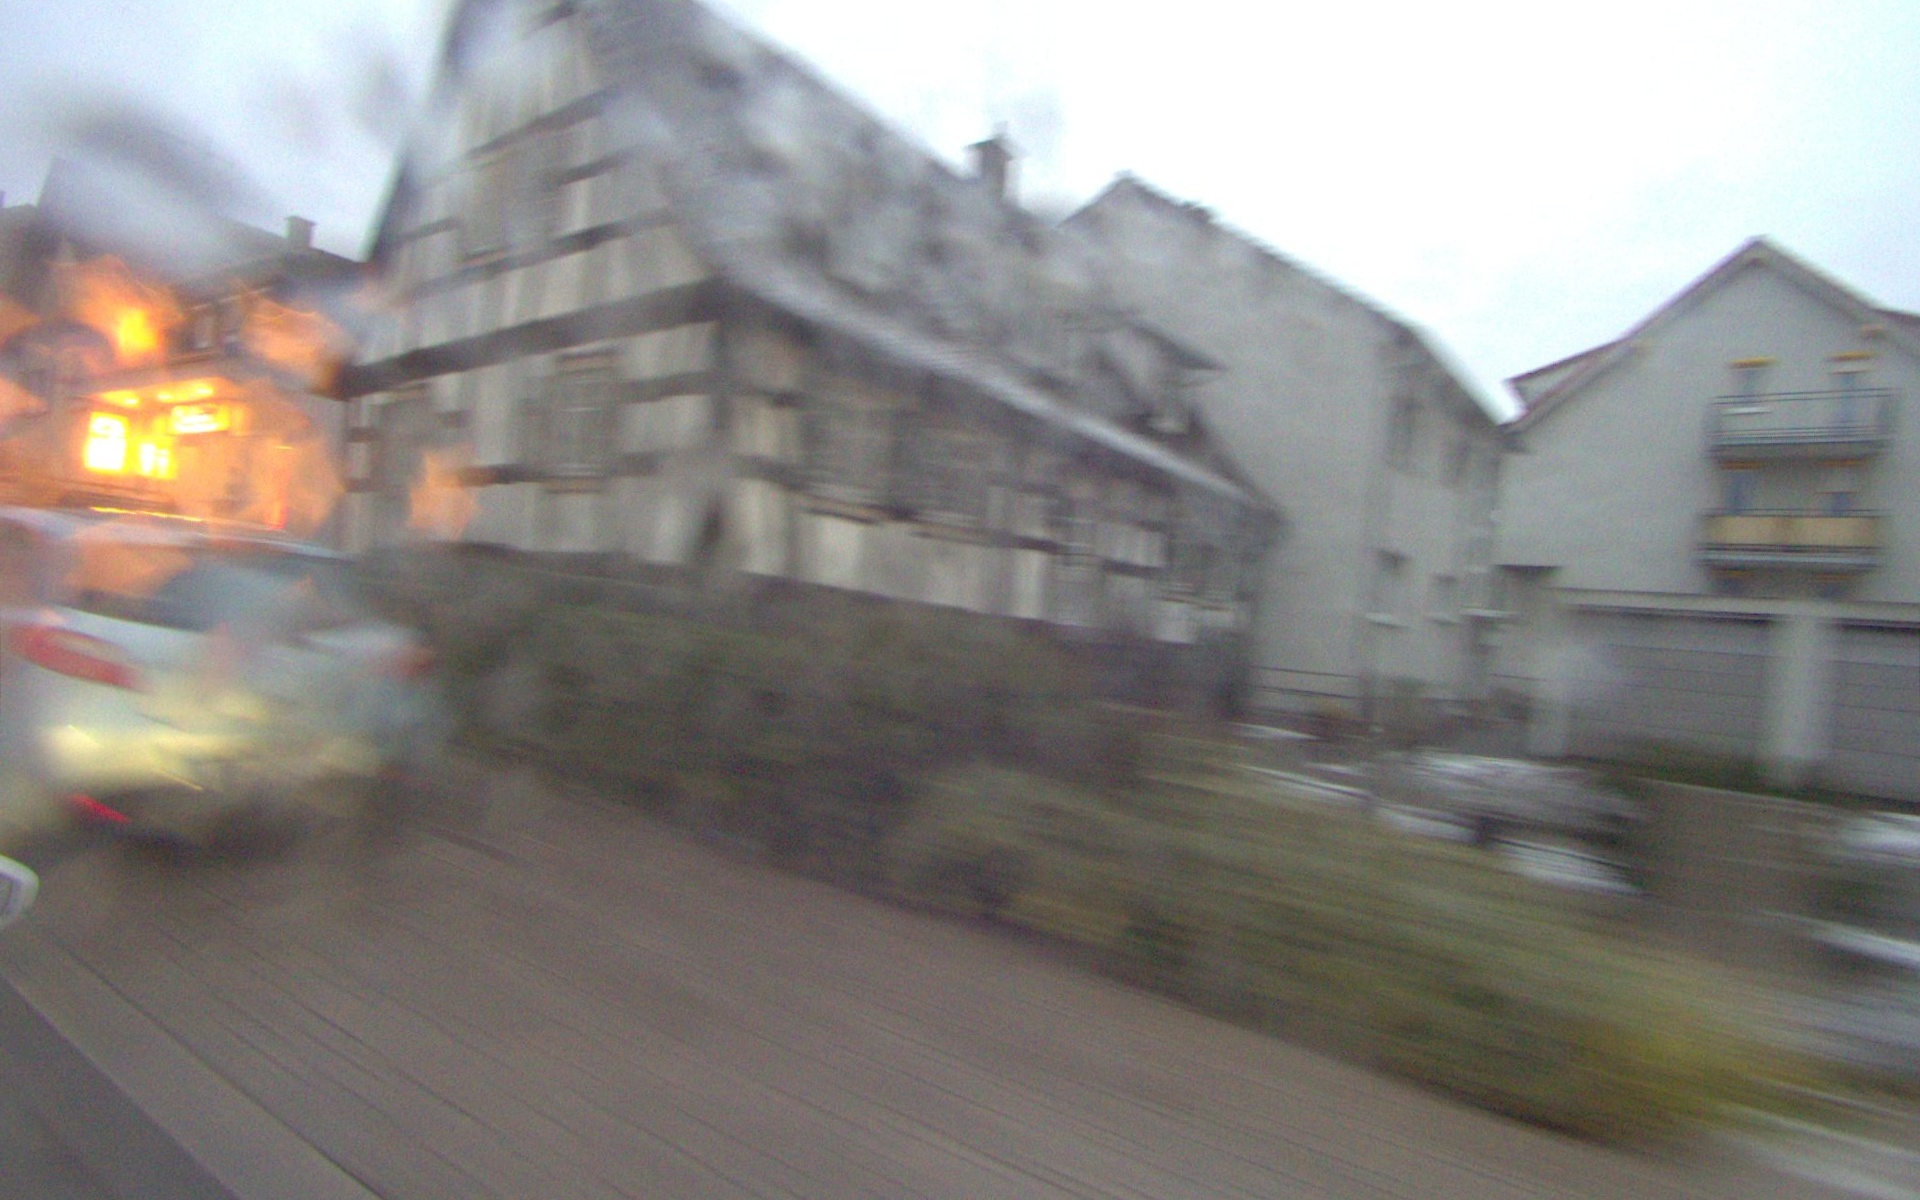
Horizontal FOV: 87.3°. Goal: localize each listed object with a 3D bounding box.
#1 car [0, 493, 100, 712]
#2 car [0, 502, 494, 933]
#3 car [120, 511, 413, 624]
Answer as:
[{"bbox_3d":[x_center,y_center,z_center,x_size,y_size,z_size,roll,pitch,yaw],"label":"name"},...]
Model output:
[{"bbox_3d":[-8.739,-0.171,7.927,4.318,1.546,1.764,6,1,33],"label":"car"},{"bbox_3d":[-4.403,0.287,5.259,3.936,1.478,1.732,6,1,34],"label":"car"},{"bbox_3d":[-10.518,-0.441,15.449,1.659,1.460,3.289,5,2,33],"label":"car"}]
